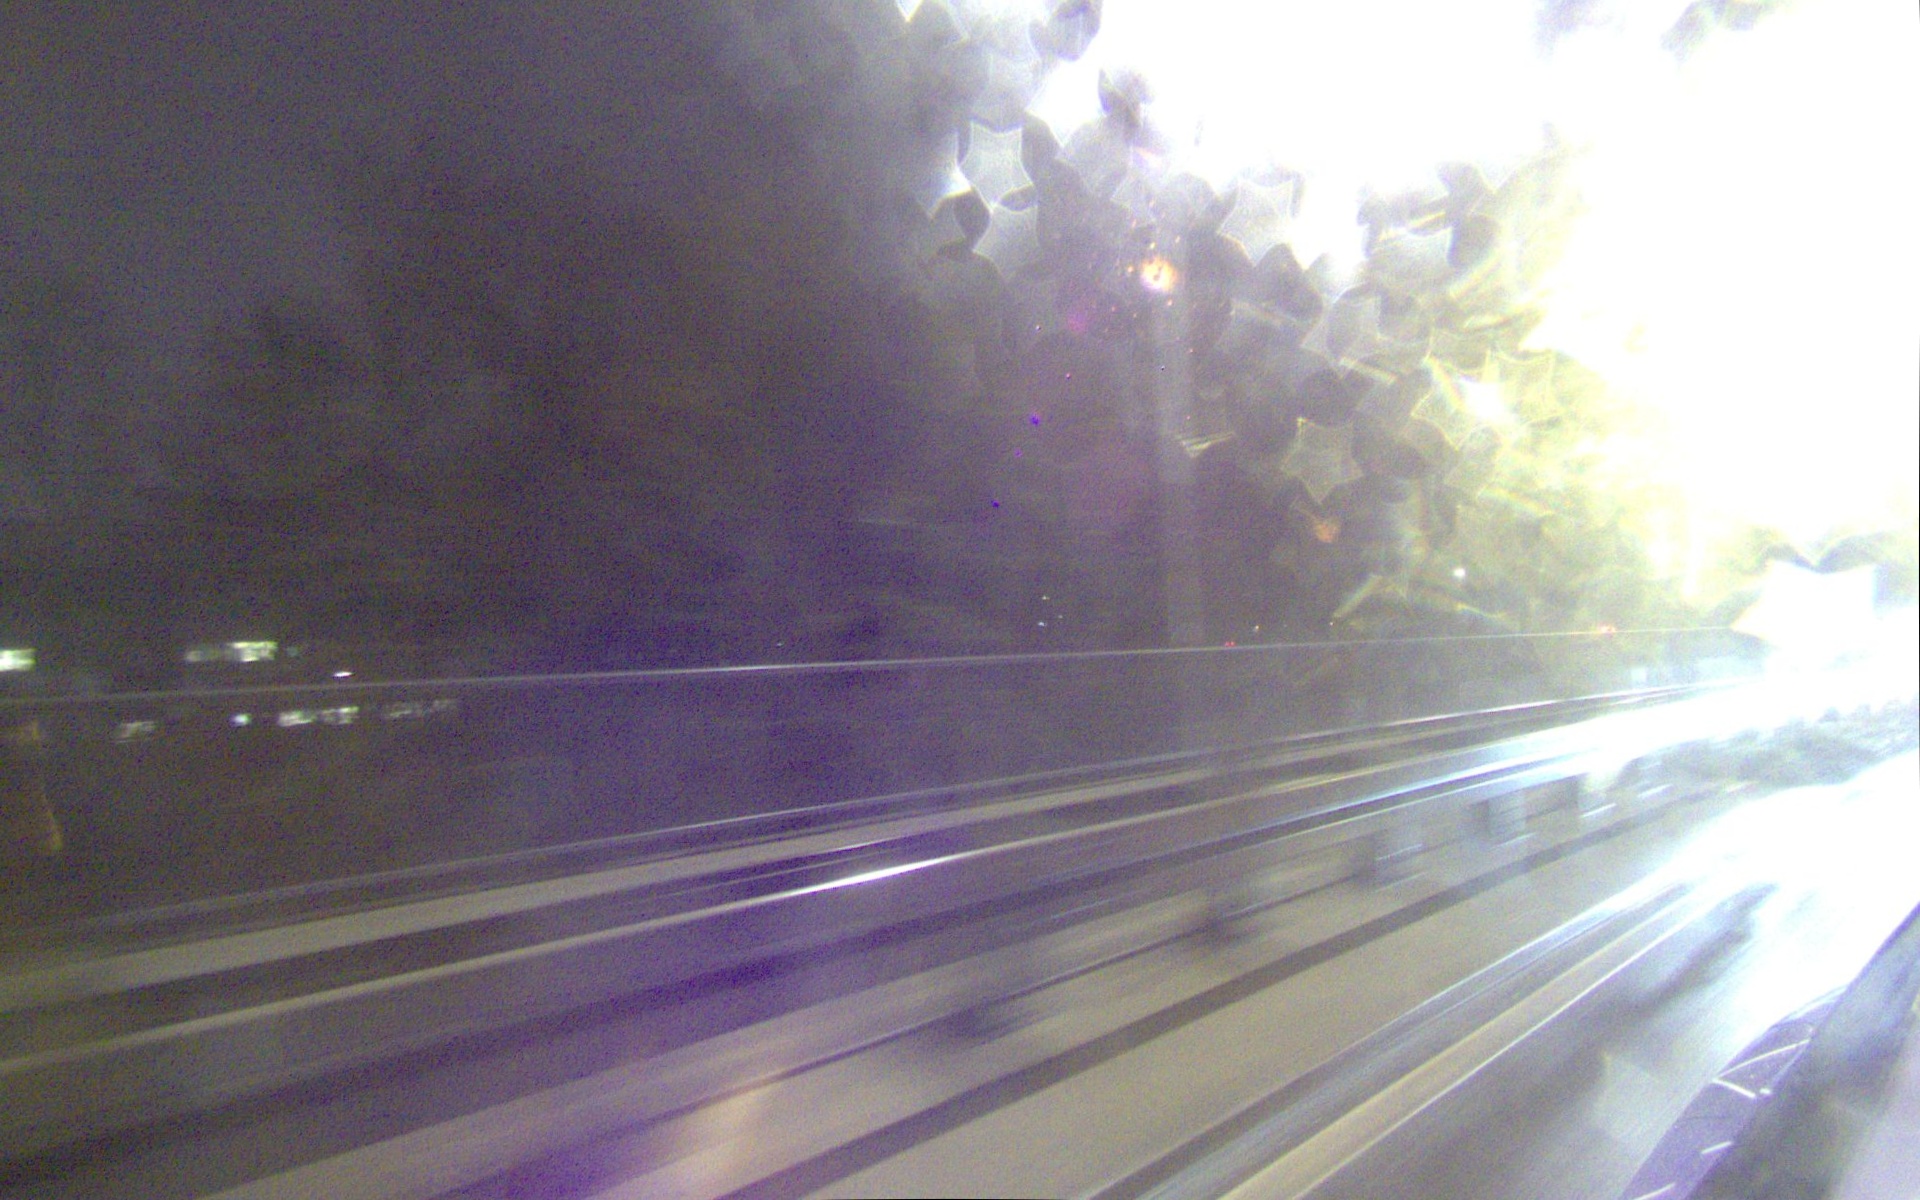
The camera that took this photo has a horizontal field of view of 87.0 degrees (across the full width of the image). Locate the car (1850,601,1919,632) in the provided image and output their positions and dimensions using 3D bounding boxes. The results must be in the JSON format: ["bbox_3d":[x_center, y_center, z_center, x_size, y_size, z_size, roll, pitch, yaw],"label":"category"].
[{"bbox_3d":[55.093,0.965,58.979,1.960,1.660,4.787,1,1,-4],"label":"car"}]

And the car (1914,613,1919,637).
[{"bbox_3d":[58.135,1.529,58.260,1.960,1.426,4.550,1,1,-4],"label":"car"}]

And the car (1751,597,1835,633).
[{"bbox_3d":[53.984,1.003,65.693,1.729,2.040,4.000,-5,-3,-3],"label":"car"}]
